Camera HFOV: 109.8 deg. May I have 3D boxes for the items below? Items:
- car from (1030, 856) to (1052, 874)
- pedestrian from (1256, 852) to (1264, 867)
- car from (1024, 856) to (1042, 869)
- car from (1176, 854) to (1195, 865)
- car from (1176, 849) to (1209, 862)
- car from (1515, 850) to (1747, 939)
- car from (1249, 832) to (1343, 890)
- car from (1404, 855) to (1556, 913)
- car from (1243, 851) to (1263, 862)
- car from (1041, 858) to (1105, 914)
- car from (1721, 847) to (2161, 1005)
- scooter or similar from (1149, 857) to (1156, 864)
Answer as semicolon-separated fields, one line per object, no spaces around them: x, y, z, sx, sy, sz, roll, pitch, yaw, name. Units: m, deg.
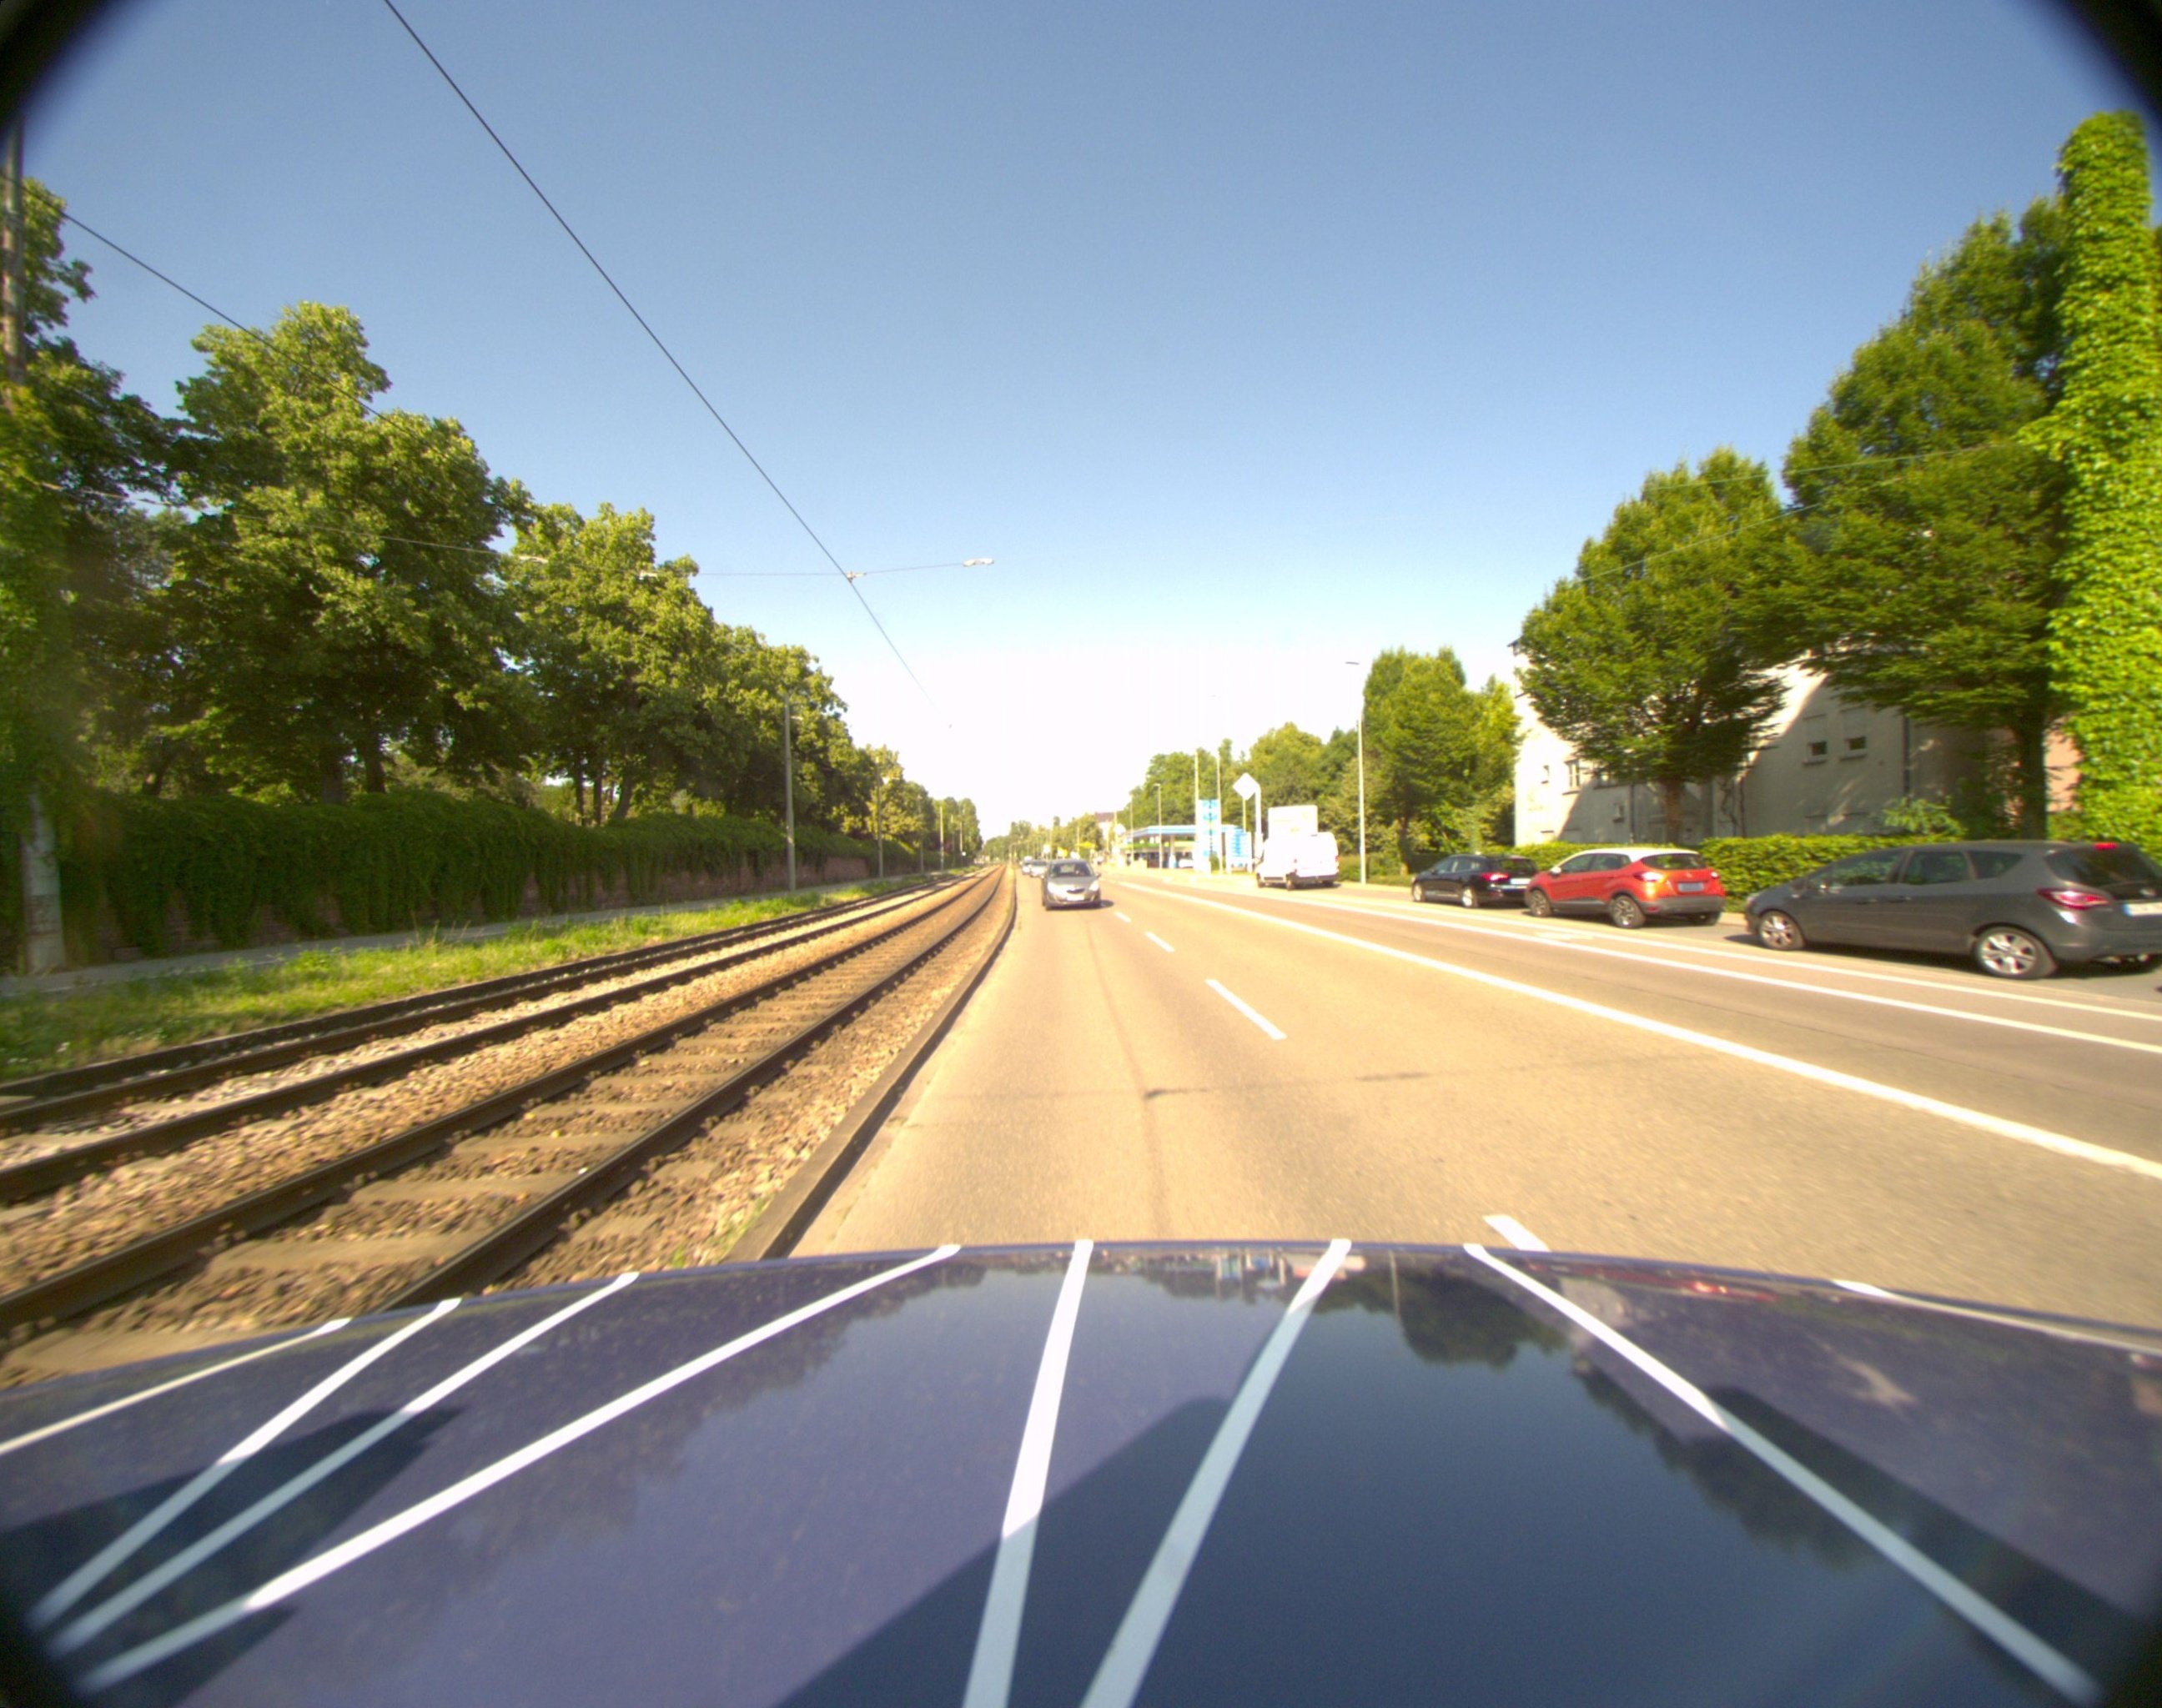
-3.563;0.957;67.290;1.711;1.487;3.998;-3;0;-6;car
21.058;0.606;89.482;0.823;1.703;1.067;-1;0;8;pedestrian
-5.138;0.928;81.176;1.579;1.306;3.998;-3;0;-7;car
14.641;0.820;106.657;1.742;1.482;4.273;-1;0;-4;car
18.087;0.226;123.799;5.084;1.929;1.857;-1;0;-1;car
11.336;0.731;16.089;1.767;1.565;4.160;-2;1;-2;car
10.142;0.321;36.490;2.158;2.443;6.181;-3;0;-5;car
11.084;0.768;21.562;1.657;1.416;4.712;-1;0;-3;car
24.058;0.386;106.399;1.741;1.437;3.999;-1;0;-2;car
-0.335;0.957;24.556;1.731;1.574;3.761;-3;0;-4;car
11.409;0.754;10.194;1.767;1.565;4.297;-4;0;-4;car
11.718;1.111;124.224;1.031;1.103;0.350;-1;0;2;scooter or similar
